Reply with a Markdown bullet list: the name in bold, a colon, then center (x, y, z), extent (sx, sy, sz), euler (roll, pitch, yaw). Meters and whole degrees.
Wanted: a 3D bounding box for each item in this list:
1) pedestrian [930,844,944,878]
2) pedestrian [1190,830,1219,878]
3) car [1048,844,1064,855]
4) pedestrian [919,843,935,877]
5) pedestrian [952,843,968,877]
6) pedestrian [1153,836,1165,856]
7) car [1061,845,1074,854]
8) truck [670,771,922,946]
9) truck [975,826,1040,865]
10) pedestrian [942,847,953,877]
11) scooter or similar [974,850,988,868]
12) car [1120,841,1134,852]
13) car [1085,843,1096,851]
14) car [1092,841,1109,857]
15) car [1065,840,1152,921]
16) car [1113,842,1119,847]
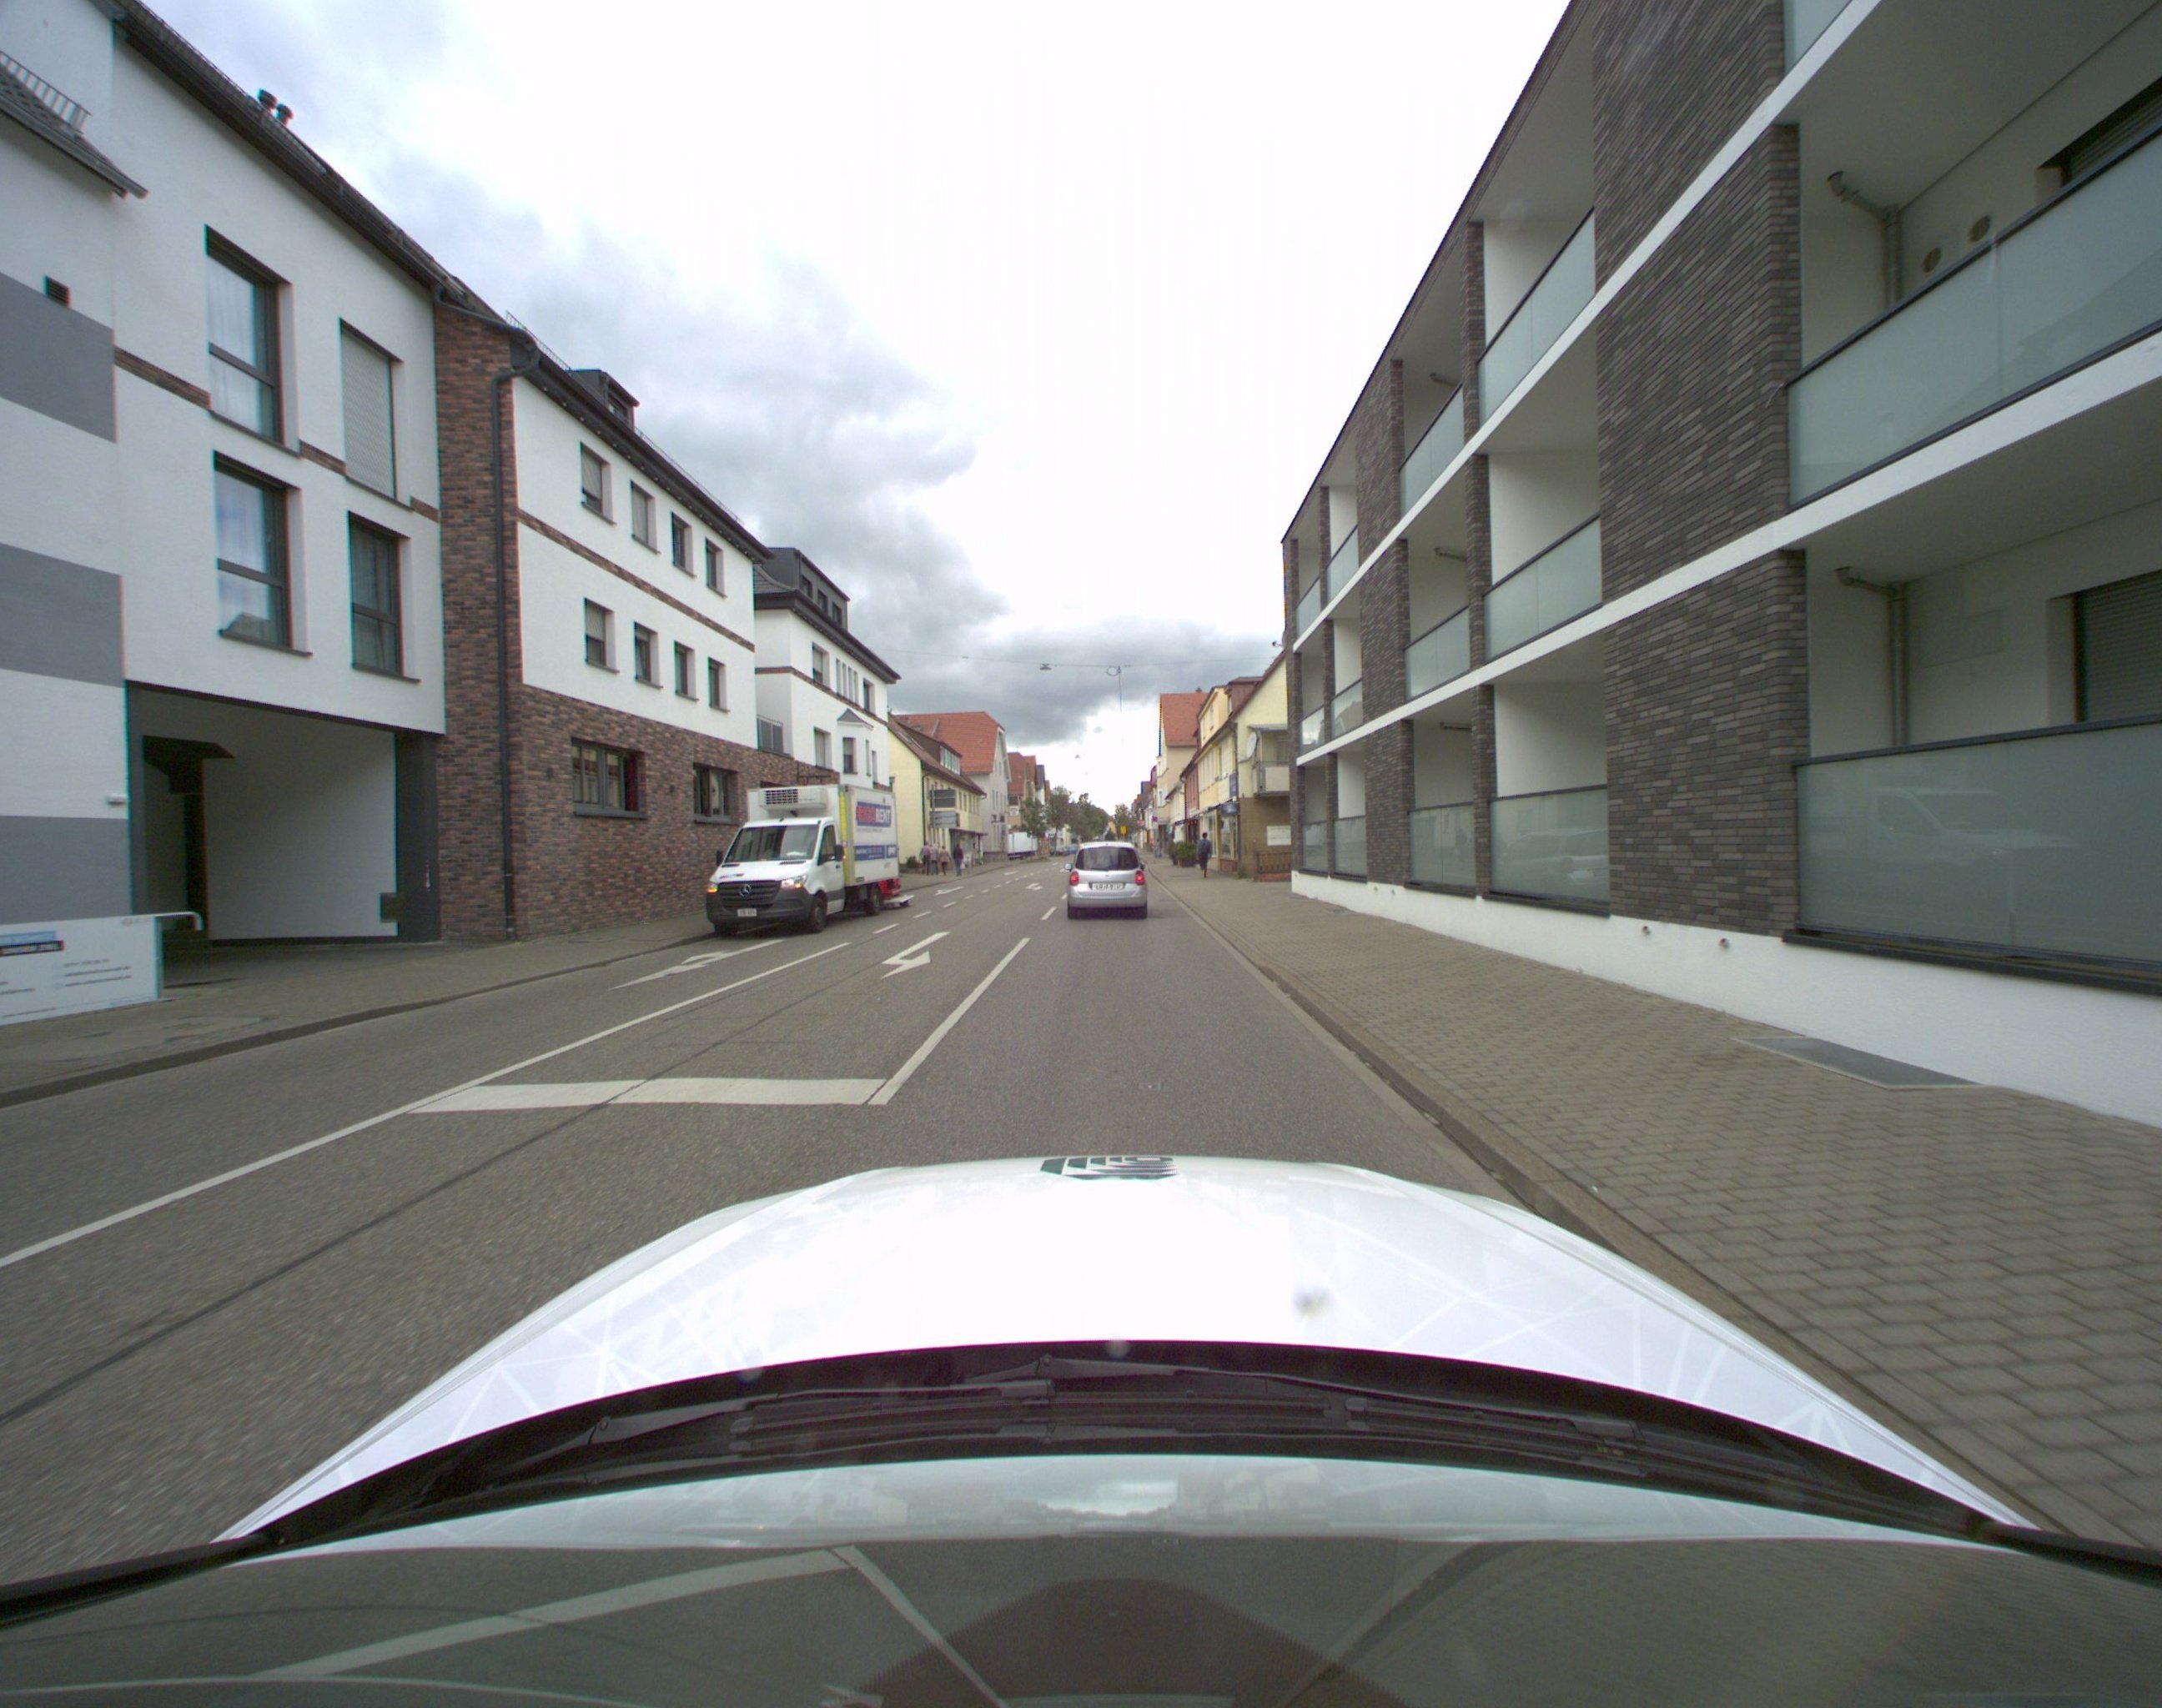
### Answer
- **pedestrian**: center (-7.657, 0.365, 43.215), extent (0.577, 1.756, 0.688), euler (-1, 1, 2)
- **pedestrian**: center (4.766, -0.003, 31.489), extent (0.886, 1.786, 0.785), euler (-5, 1, 2)
- **car**: center (-3.201, -0.612, 104.978), extent (1.805, 1.354, 4.003), euler (-3, 1, 2)
- **pedestrian**: center (-7.960, 0.310, 42.218), extent (0.645, 1.756, 0.688), euler (-1, 1, 2)
- **pedestrian**: center (-6.339, 0.322, 42.745), extent (0.660, 1.756, 0.688), euler (-1, 1, 2)
- **pedestrian**: center (7.094, -0.717, 74.233), extent (0.886, 1.786, 0.785), euler (-5, 1, 2)
- **car**: center (-2.127, -0.729, 132.138), extent (1.805, 1.354, 4.003), euler (-3, 1, 2)
- **truck**: center (-5.812, 0.017, 18.453), extent (2.426, 2.953, 8.367), euler (-3, 1, 1)
- **truck**: center (-7.896, -0.968, 88.174), extent (2.570, 3.857, 6.892), euler (-3, 1, 41)
- **pedestrian**: center (-7.088, 0.416, 43.170), extent (0.424, 1.525, 0.554), euler (-1, 1, 2)
- **scooter or similar**: center (-7.743, 0.386, 63.122), extent (0.573, 1.269, 2.550), euler (-3, 1, 2)
- **car**: center (6.555, -1.086, 115.777), extent (1.805, 1.354, 4.003), euler (-3, 1, 2)
- **car**: center (1.653, -1.260, 143.102), extent (1.805, 1.354, 3.860), euler (-3, 1, 2)
- **car**: center (2.082, -0.539, 86.175), extent (1.700, 1.579, 4.002), euler (-1, 1, 1)
- **car**: center (0.590, 0.498, 18.143), extent (1.700, 1.579, 4.002), euler (-1, 1, 1)
- **car**: center (10.951, -3.052, 253.391), extent (1.805, 1.354, 4.003), euler (-3, 1, 2)
